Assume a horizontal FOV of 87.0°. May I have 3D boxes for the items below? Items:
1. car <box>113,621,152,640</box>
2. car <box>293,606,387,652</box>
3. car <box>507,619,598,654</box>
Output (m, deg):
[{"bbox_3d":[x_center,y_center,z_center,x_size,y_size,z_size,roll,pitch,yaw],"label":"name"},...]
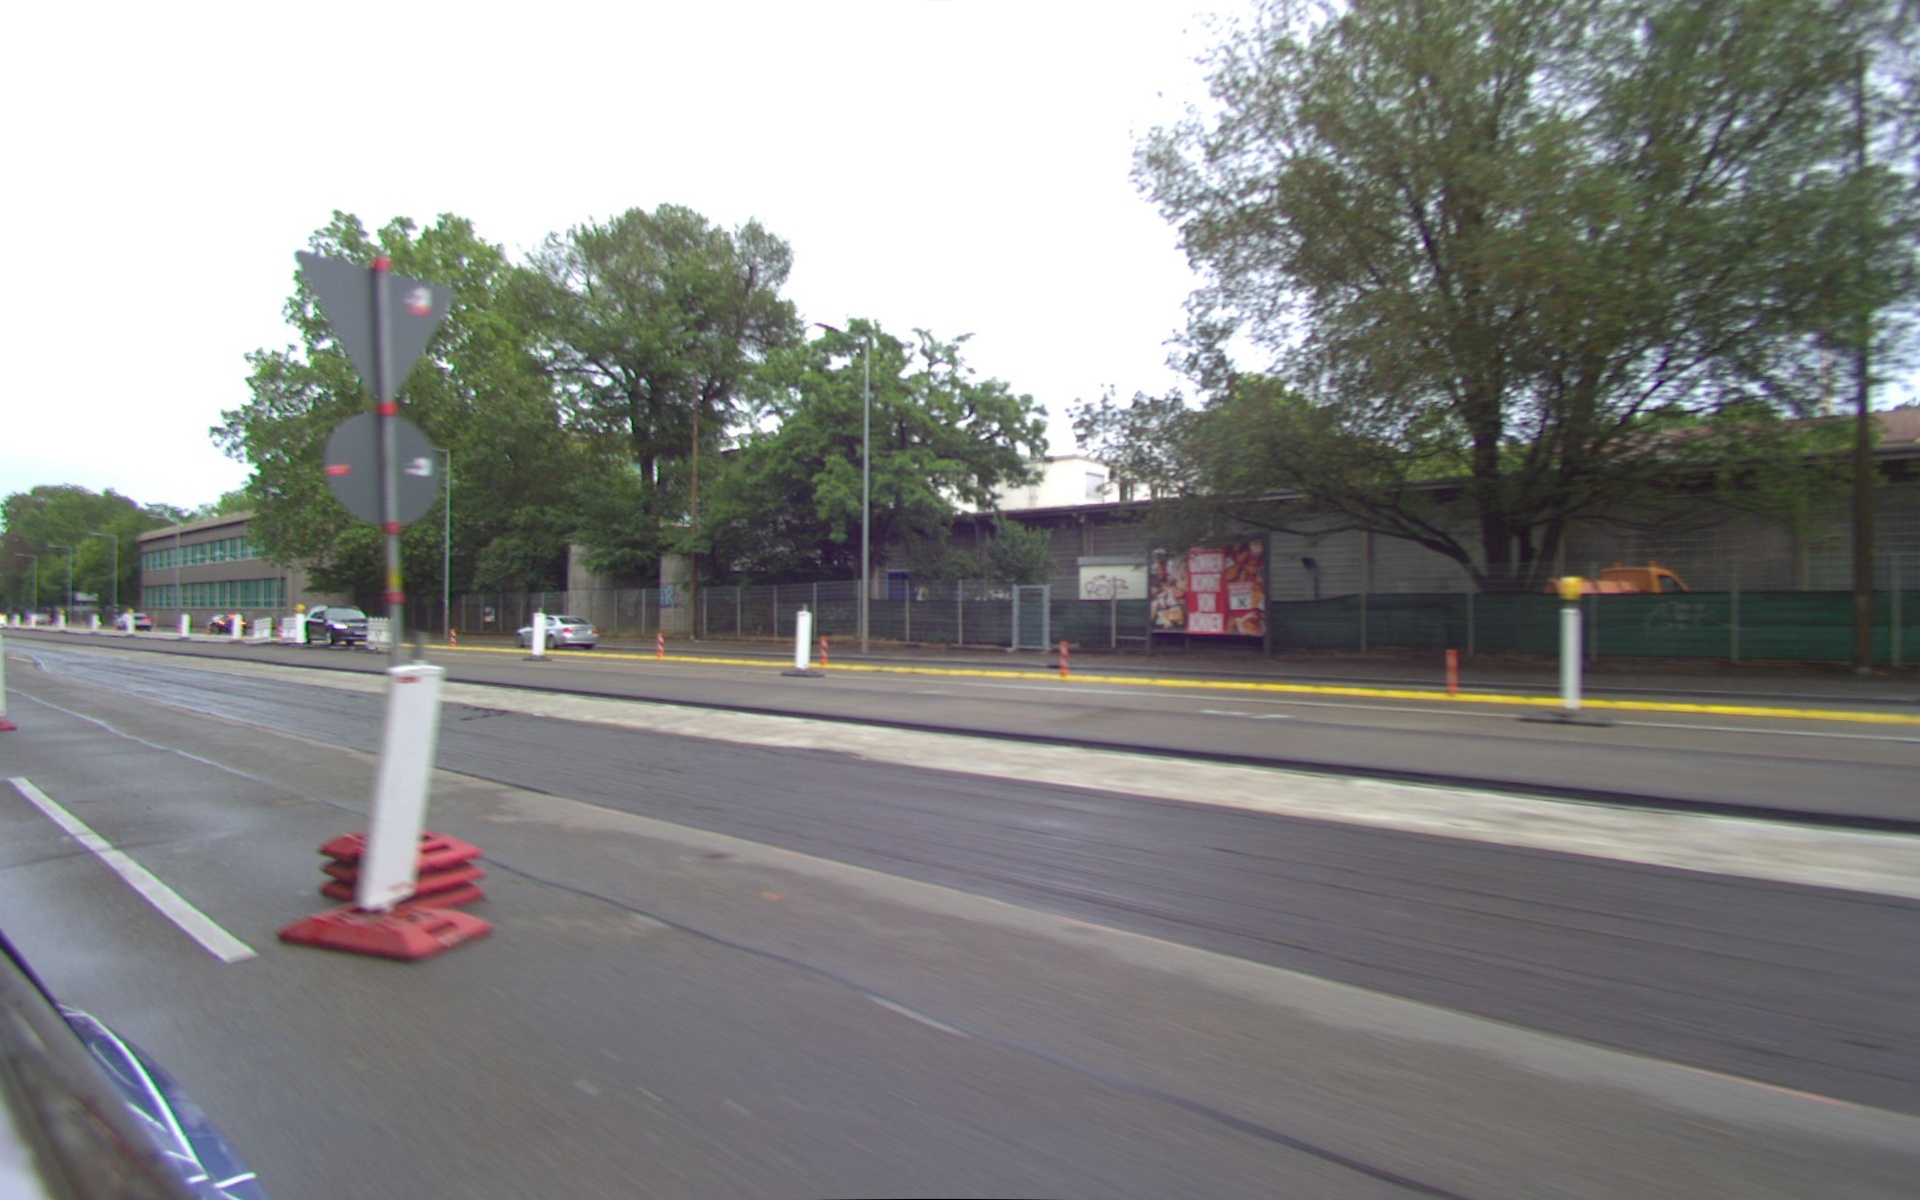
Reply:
[{"bbox_3d":[-67.940,2.489,83.100,4.146,1.445,1.817,-1,-1,41],"label":"car"},{"bbox_3d":[-25.830,1.247,42.086,4.983,1.719,1.972,-3,-6,43],"label":"car"},{"bbox_3d":[-16.717,1.483,41.429,4.453,1.325,1.649,-1,-4,42],"label":"car"}]
